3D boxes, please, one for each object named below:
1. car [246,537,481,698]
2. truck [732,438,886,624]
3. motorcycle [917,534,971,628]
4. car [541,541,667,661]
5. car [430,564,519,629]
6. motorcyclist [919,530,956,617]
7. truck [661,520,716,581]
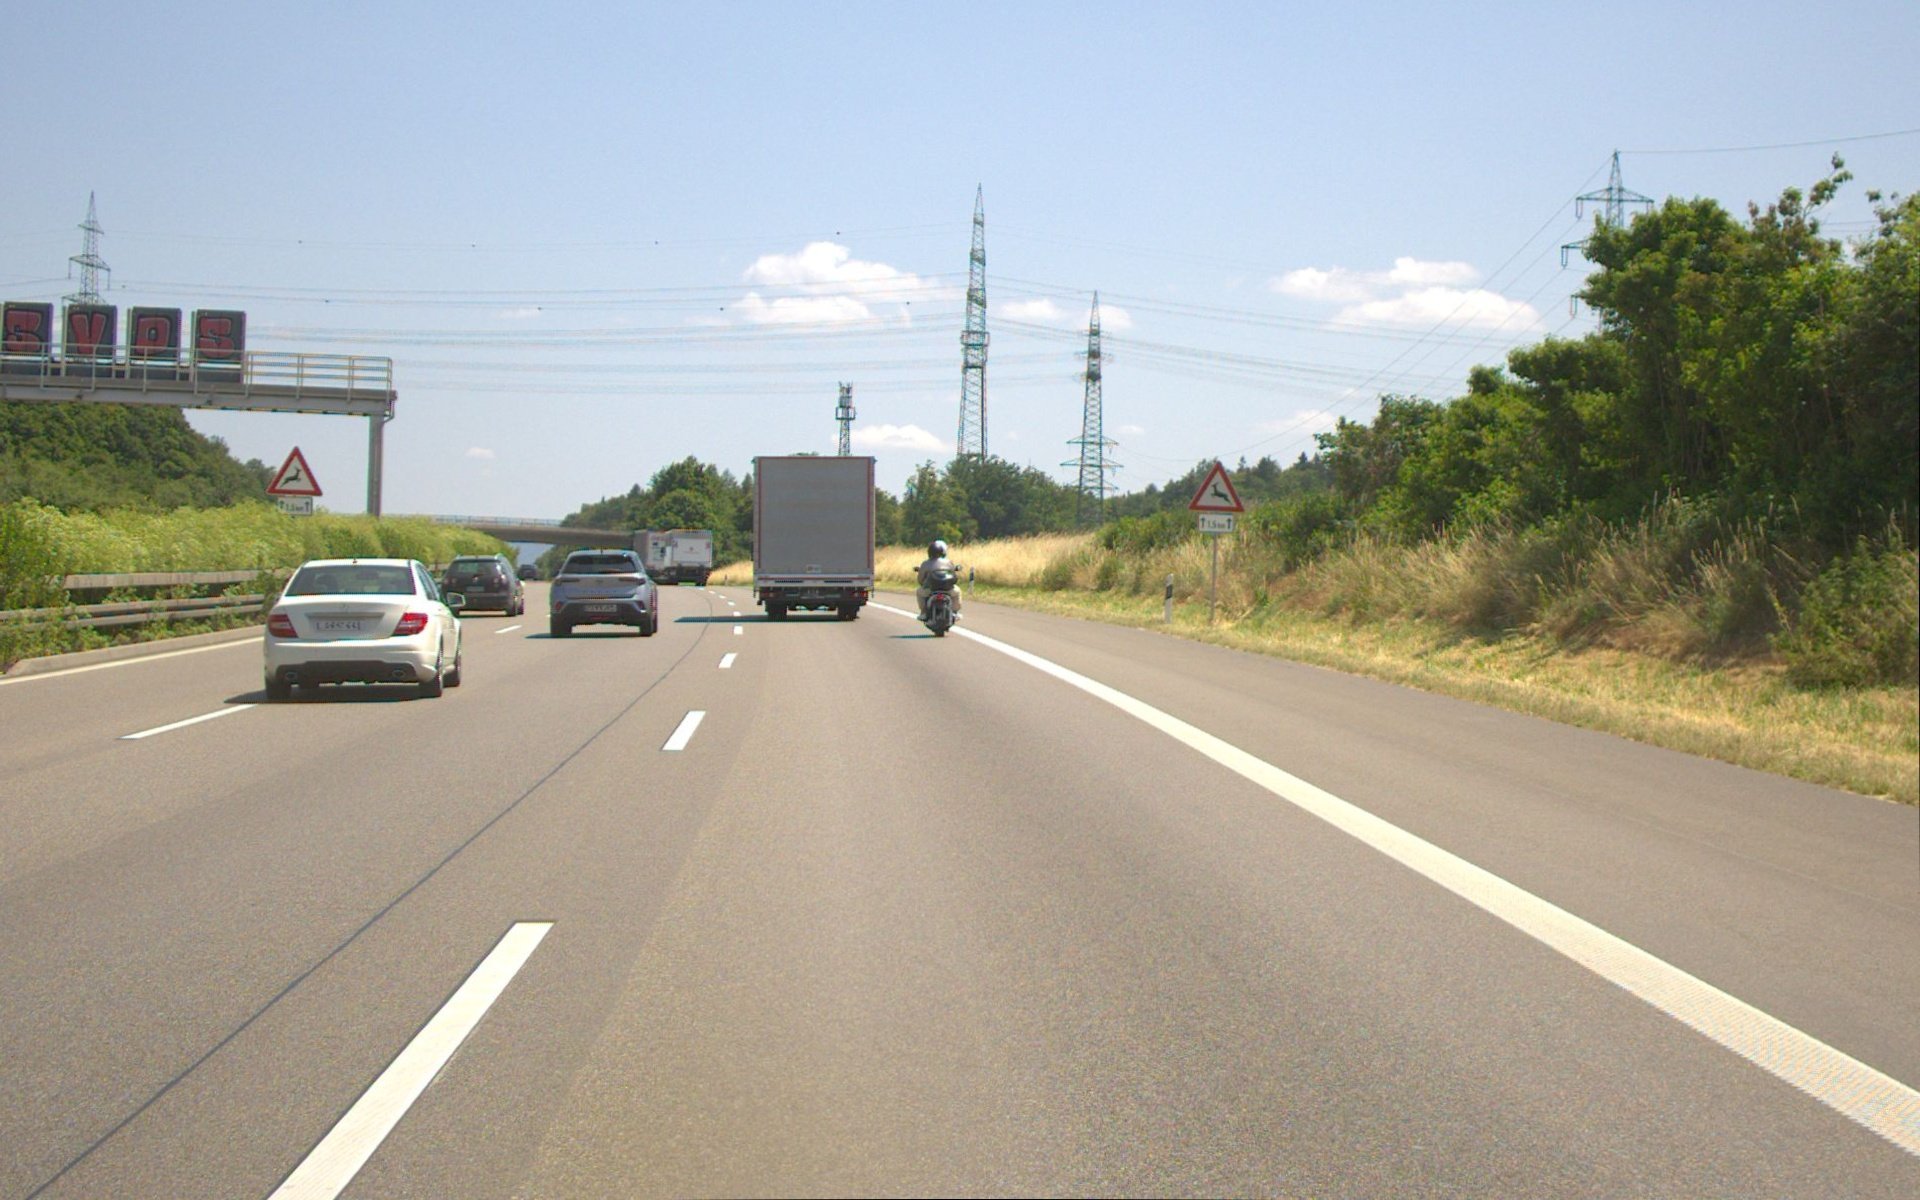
[{"bbox_3d":[-6.105,0.137,35.591,1.819,1.535,3.915,-1,1,-1],"label":"car"},{"bbox_3d":[-3.470,-1.506,76.865,3.220,3.911,9.062,0,1,-4],"label":"truck"},{"bbox_3d":[-0.283,-0.336,59.302,0.809,1.602,1.782,0,1,-4],"label":"motorcycle"},{"bbox_3d":[-6.247,-0.012,60.713,1.993,2.007,4.001,-1,1,-3],"label":"car"},{"bbox_3d":[-11.451,-0.093,81.246,1.756,1.424,4.001,-1,1,-4],"label":"car"},{"bbox_3d":[-0.386,-0.455,59.188,0.572,1.474,0.700,-1,1,-4],"label":"motorcyclist"},{"bbox_3d":[-17.681,-3.233,223.213,3.483,3.899,7.291,0,1,-5],"label":"truck"}]
